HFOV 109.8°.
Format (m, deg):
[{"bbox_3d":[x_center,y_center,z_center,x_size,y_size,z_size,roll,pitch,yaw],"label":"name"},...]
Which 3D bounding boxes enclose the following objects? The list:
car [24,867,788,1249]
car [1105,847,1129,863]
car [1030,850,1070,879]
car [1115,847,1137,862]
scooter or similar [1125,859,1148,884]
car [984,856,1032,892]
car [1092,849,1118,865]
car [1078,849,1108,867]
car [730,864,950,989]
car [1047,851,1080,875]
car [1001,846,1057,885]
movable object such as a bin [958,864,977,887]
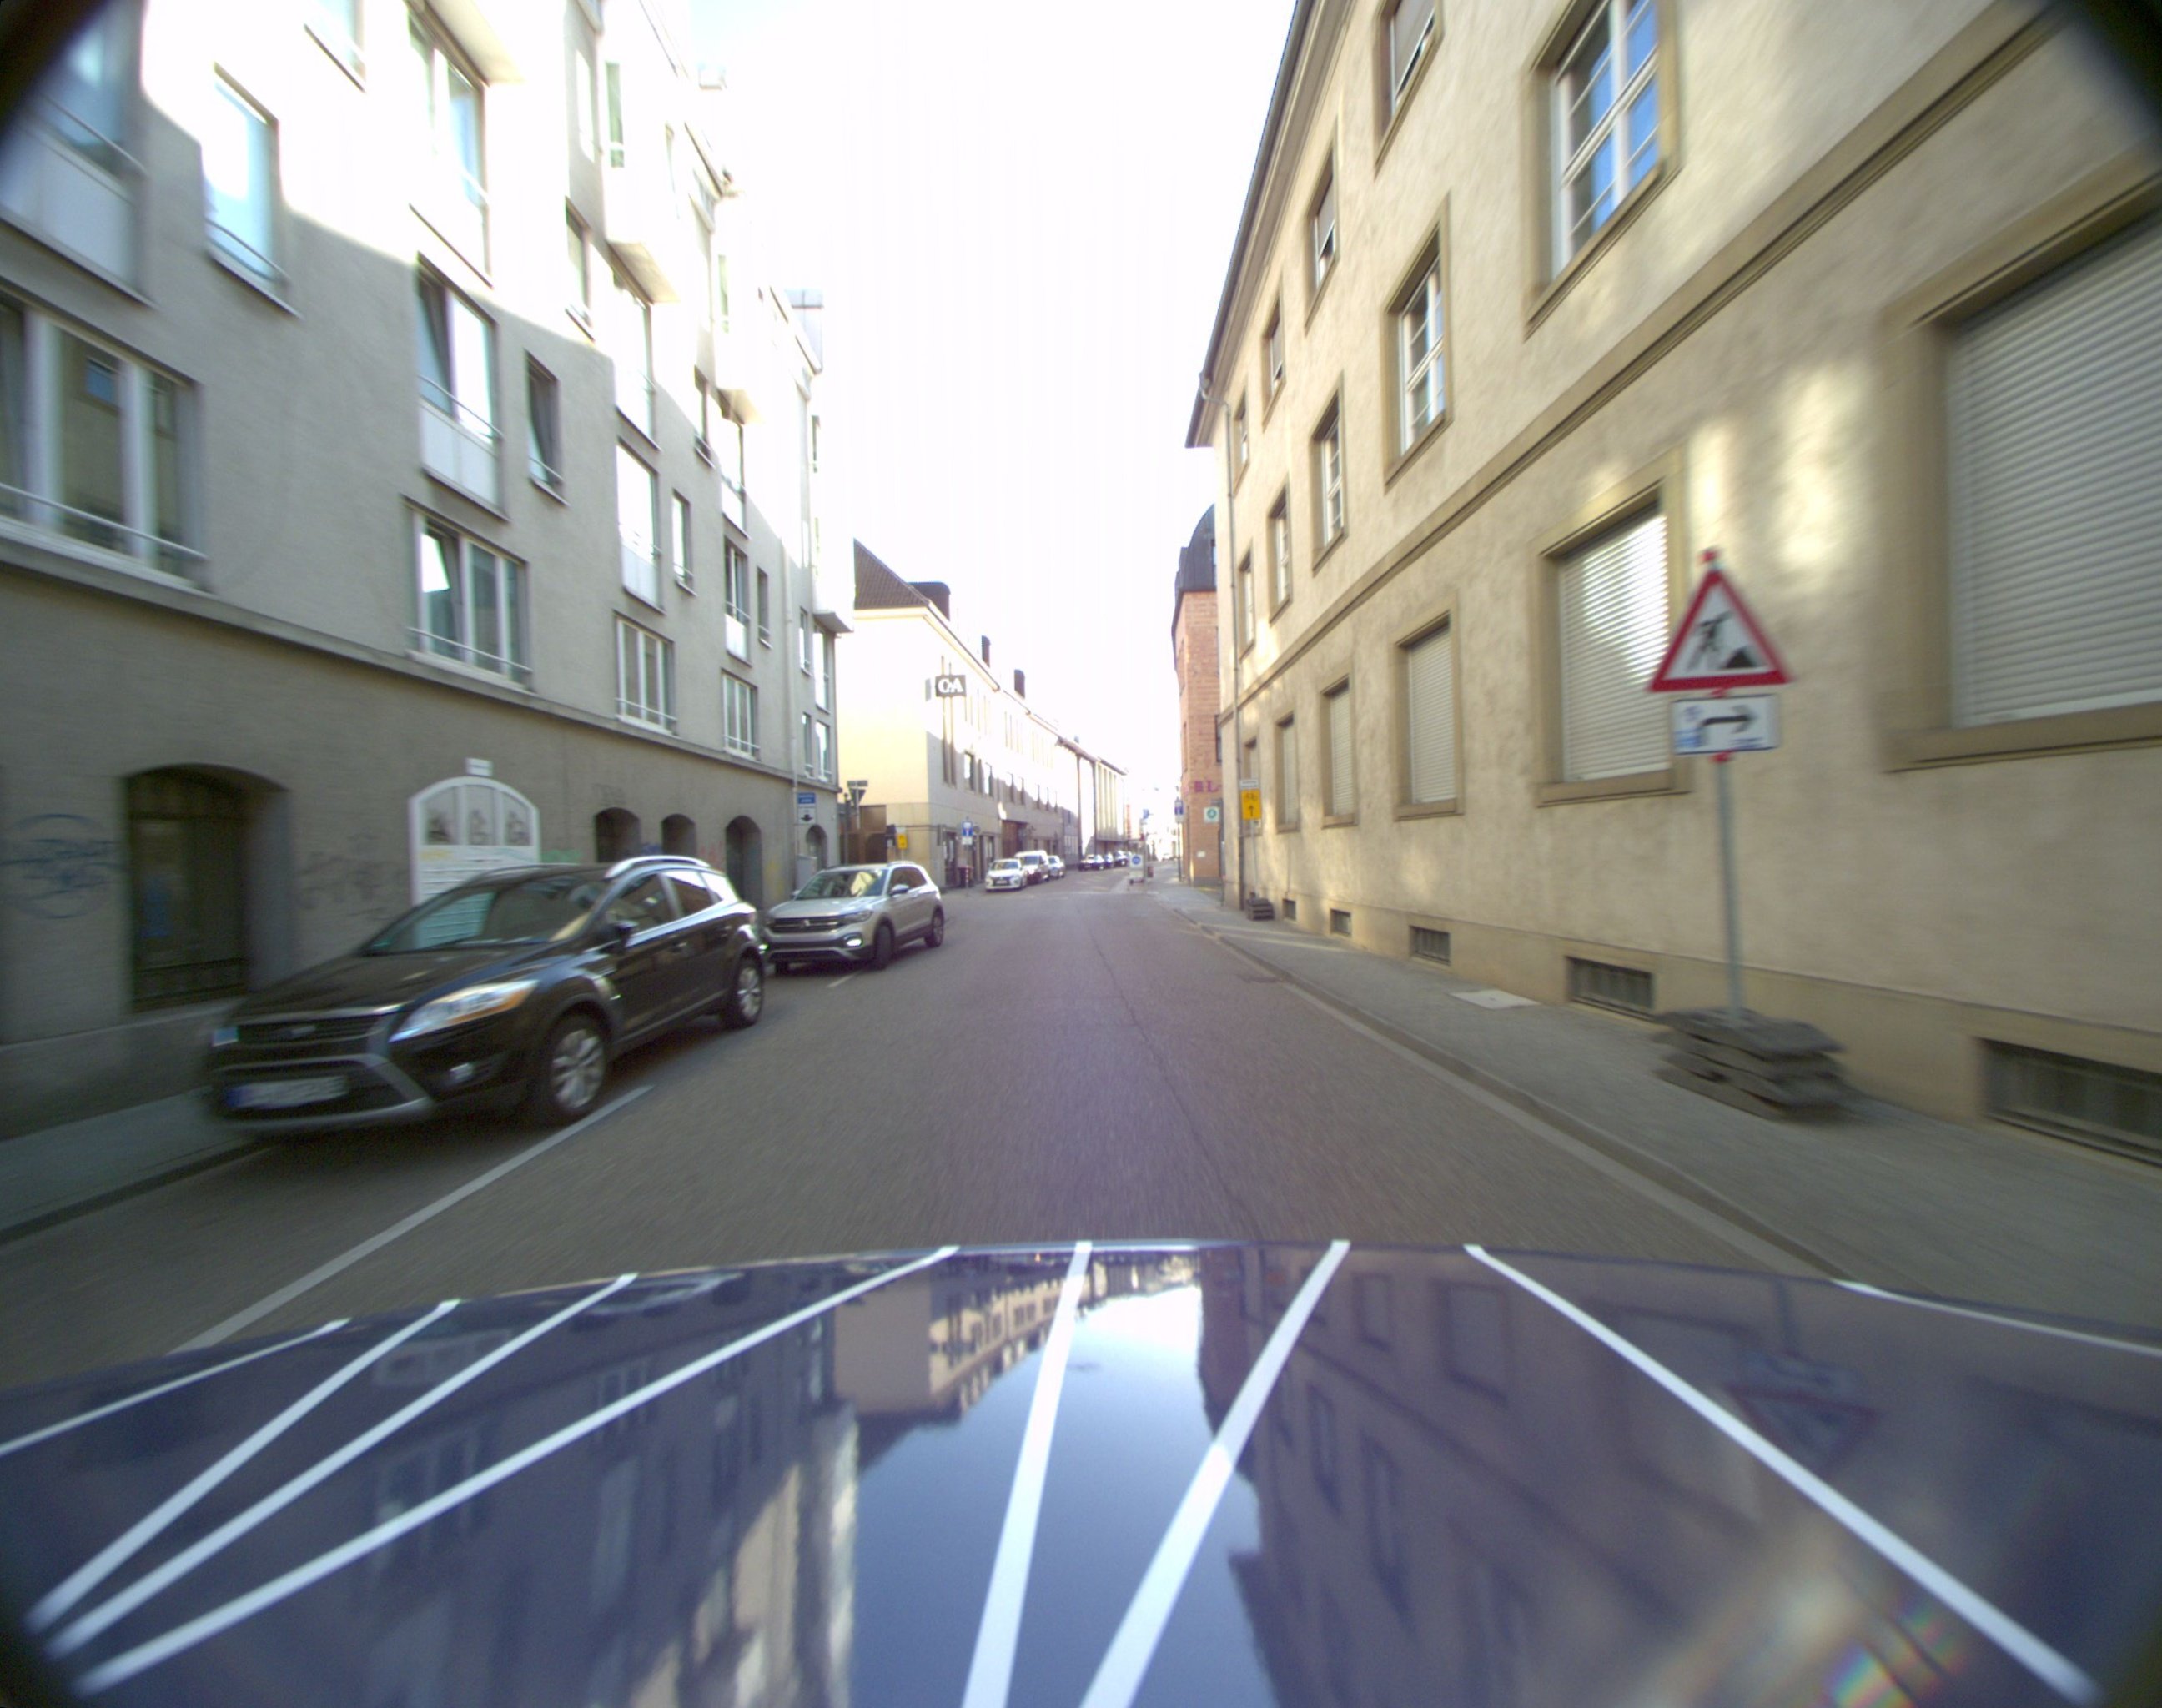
[{"bbox_3d":[-4.067,1.007,5.863,1.830,1.645,4.493,-3,0,-1],"label":"car"},{"bbox_3d":[3.872,0.129,81.390,1.964,1.527,4.199,-3,1,10],"label":"car"},{"bbox_3d":[-1.964,0.652,48.637,1.775,1.574,3.858,-6,0,7],"label":"car"},{"bbox_3d":[5.281,0.052,88.809,1.964,1.637,4.199,-3,1,10],"label":"car"},{"bbox_3d":[2.753,0.837,37.513,0.467,1.217,1.302,0,0,41],"label":"scooter or similar"},{"bbox_3d":[-3.460,0.914,36.505,1.735,1.539,4.000,-3,0,2],"label":"car"},{"bbox_3d":[2.439,0.299,75.469,1.964,1.400,4.199,-3,0,10],"label":"car"},{"bbox_3d":[1.128,0.370,69.115,1.964,1.400,4.199,-3,0,10],"label":"car"},{"bbox_3d":[-3.618,1.017,12.279,1.829,1.550,3.988,-3,0,7],"label":"car"},{"bbox_3d":[-1.319,0.665,58.548,1.775,1.574,3.858,-6,0,9],"label":"car"},{"bbox_3d":[-2.824,0.596,42.639,1.947,1.850,5.197,-6,0,7],"label":"car"},{"bbox_3d":[-5.618,1.050,37.725,0.688,1.079,0.929,-3,1,3],"label":"movable object such as a bin"}]
